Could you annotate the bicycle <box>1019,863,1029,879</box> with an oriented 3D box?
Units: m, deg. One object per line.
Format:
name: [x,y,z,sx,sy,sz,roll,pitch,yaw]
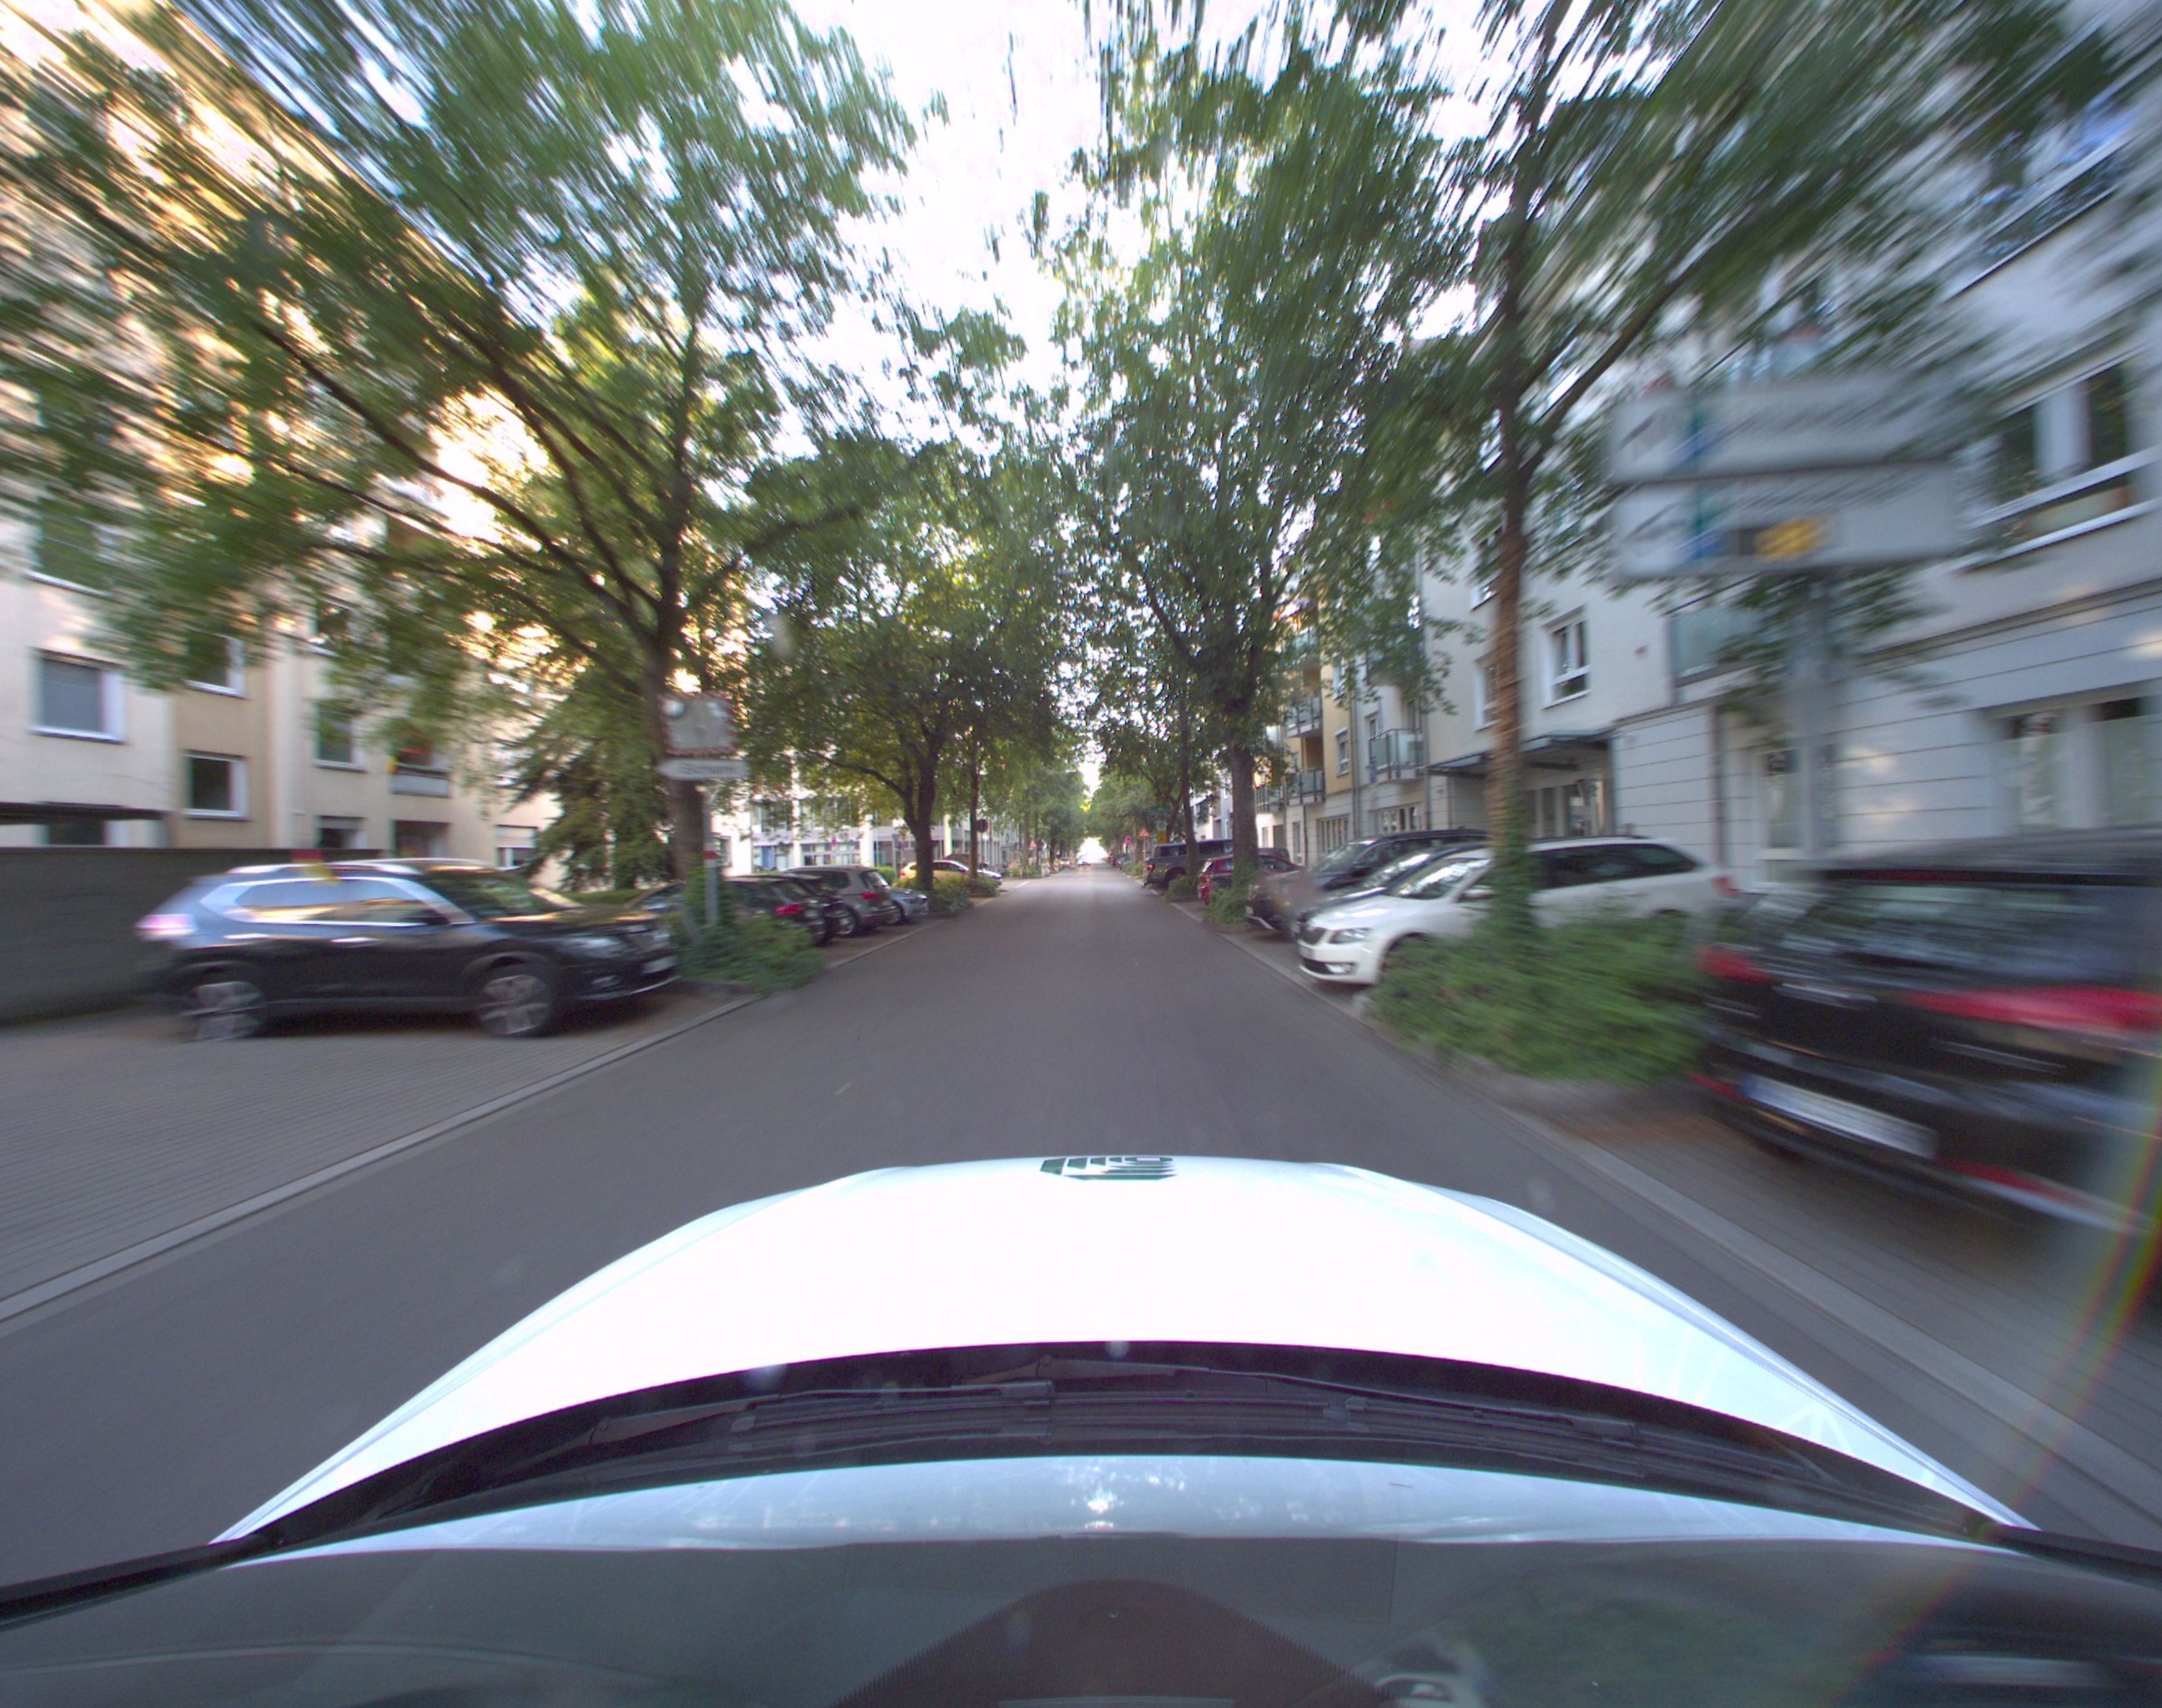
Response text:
bicycle: [-4.264,1.258,60.672,0.682,1.152,1.978,-2,0,-4]

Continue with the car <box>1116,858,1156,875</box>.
car: [5.676,1.307,83.894,3.971,1.585,2.001,-2,0,2]

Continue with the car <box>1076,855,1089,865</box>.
car: [0.192,0.921,128.607,2.003,1.613,4.118,-2,0,0]

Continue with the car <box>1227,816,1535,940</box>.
car: [5.159,0.391,14.445,4.633,1.617,2.008,-5,0,-4]

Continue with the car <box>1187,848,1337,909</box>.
car: [5.004,0.662,22.866,3.765,1.544,1.877,-2,0,-1]

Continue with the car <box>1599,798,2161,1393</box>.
car: [4.719,0.516,3.249,4.077,1.451,1.931,-5,0,-5]

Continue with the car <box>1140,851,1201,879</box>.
car: [5.418,0.637,49.566,3.527,1.564,1.832,-2,-1,0]

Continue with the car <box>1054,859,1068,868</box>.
car: [-2.934,1.345,119.974,1.989,1.288,3.995,-2,0,-3]

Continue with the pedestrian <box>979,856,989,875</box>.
pedestrian: [-8.595,1.003,72.334,0.736,1.690,0.607,-2,-1,2]

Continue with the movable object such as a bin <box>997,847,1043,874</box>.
movable object such as a bin: [-5.616,0.583,75.218,4.039,2.383,2.780,-2,0,-5]

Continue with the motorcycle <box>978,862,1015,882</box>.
motorcycle: [-5.939,1.253,57.065,2.368,1.281,1.055,-2,0,-40]

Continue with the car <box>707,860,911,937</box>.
car: [-6.197,0.991,18.848,3.967,1.565,1.932,-2,0,5]

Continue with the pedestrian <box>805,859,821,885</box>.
pedestrian: [-19.562,1.278,59.397,0.893,1.851,0.867,-2,0,-30]

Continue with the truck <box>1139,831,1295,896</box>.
truck: [5.318,0.357,32.487,5.866,2.311,2.213,-2,0,1]

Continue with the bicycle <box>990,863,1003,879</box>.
bicycle: [-6.294,1.257,60.662,0.680,1.152,1.982,-2,0,2]

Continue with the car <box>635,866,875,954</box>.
car: [-6.339,1.067,16.182,3.976,1.490,1.824,-2,0,-2]

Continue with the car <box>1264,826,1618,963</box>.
car: [5.012,0.545,11.852,4.207,1.438,1.931,-6,-1,2]

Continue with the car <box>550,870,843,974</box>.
car: [-6.334,1.088,13.800,3.975,1.464,1.921,-2,0,-1]

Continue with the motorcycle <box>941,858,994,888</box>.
motorcycle: [-5.695,0.936,40.948,2.443,1.420,0.911,-2,-1,2]

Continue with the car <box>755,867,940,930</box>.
car: [-6.056,1.146,21.474,4.273,1.430,1.879,-2,0,0]

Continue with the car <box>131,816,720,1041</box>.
car: [-6.533,0.687,8.582,4.491,1.955,1.999,-2,0,-1]

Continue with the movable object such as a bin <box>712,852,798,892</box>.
movable object such as a bin: [-23.523,1.298,58.824,5.581,2.692,2.296,-2,0,21]

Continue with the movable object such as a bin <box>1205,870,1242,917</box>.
movable object such as a bin: [3.544,0.965,20.316,0.758,1.084,0.786,-4,0,2]

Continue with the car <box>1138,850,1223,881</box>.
car: [5.682,0.653,46.903,4.606,1.571,2.011,-2,0,0]

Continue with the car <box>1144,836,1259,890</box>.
car: [5.155,0.381,35.232,4.586,2.066,2.197,-2,0,-1]

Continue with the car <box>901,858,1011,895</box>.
car: [-5.651,1.002,37.353,4.600,1.552,2.077,-2,0,3]

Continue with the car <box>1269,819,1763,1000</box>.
car: [4.671,0.572,9.246,4.585,1.468,1.796,-5,0,0]
